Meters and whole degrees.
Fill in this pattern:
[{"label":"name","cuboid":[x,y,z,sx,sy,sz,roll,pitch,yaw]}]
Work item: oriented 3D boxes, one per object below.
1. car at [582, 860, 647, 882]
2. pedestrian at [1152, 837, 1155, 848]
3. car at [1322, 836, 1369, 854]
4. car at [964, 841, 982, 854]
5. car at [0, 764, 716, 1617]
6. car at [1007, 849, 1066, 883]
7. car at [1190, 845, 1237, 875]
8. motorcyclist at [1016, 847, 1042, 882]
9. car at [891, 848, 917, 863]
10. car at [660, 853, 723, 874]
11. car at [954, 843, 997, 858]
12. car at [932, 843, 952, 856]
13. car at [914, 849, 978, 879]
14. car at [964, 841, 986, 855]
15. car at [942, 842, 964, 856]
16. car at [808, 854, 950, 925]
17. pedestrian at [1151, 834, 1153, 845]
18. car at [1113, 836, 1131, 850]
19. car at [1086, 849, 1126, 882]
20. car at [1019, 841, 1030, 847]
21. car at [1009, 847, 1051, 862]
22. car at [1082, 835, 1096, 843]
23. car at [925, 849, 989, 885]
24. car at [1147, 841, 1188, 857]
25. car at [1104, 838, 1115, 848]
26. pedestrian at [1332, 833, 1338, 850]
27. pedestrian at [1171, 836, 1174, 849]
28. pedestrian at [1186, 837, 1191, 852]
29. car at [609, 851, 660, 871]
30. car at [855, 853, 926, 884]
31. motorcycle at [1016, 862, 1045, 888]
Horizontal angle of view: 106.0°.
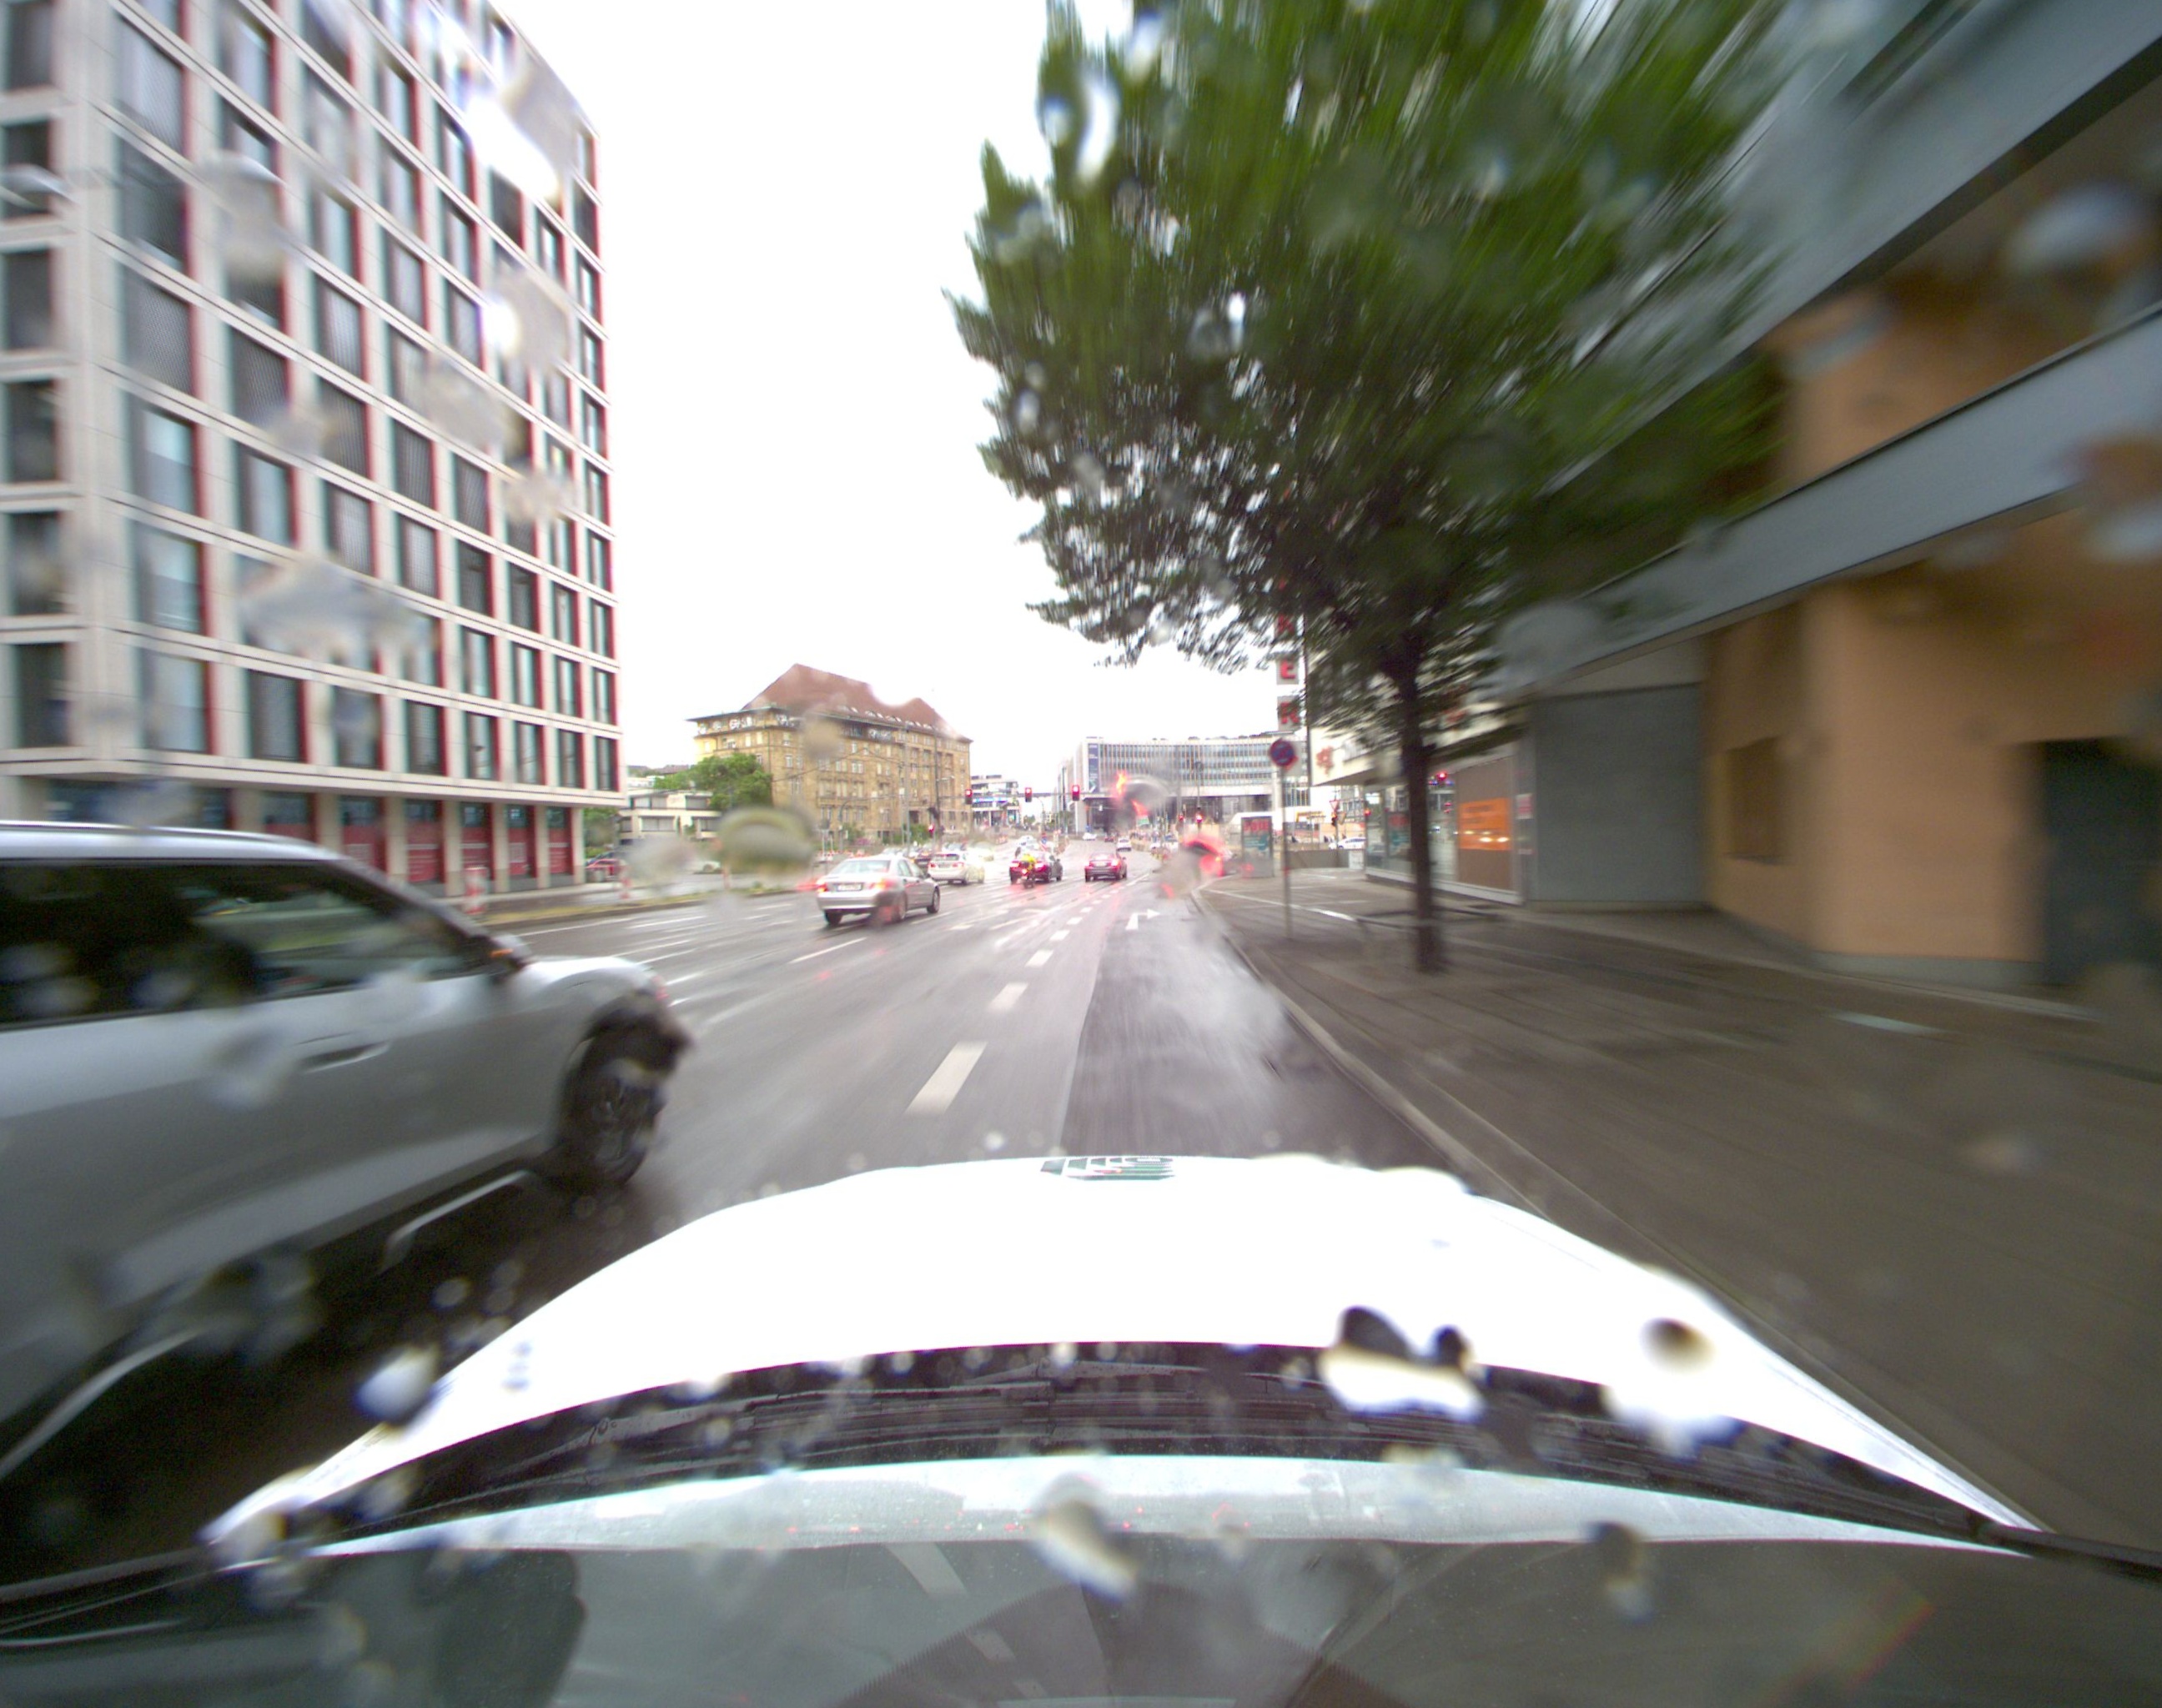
[{"label":"car","cuboid":[-35.418,1.288,61.878,3.967,1.596,1.678,-1,0,6]},{"label":"pedestrian","cuboid":[12.070,-1.928,135.922,0.360,1.898,0.576,-1,0,-2]},{"label":"car","cuboid":[27.302,-0.905,84.167,4.380,1.766,2.005,-1,0,8]},{"label":"car","cuboid":[-13.541,-0.865,101.998,1.692,1.574,4.000,-1,0,0]},{"label":"car","cuboid":[-2.994,0.665,2.437,1.801,1.661,4.172,-1,0,1]},{"label":"car","cuboid":[-2.121,0.555,40.331,1.876,1.514,5.015,-1,0,9]},{"label":"car","cuboid":[7.137,0.288,43.633,1.876,1.544,4.011,-1,0,17]},{"label":"motorcyclist","cuboid":[-2.210,0.438,34.947,0.937,1.475,1.101,-1,0,3]},{"label":"car","cuboid":[-18.638,0.141,86.084,1.691,1.519,3.877,-3,1,2]},{"label":"car","cuboid":[-32.531,0.782,68.179,4.387,1.662,1.990,-1,0,-14]},{"label":"car","cuboid":[-10.660,-0.357,81.995,4.059,1.506,2.013,-1,0,38]},{"label":"car","cuboid":[-17.033,-0.584,100.077,1.692,1.574,4.000,-1,0,0]},{"label":"car","cuboid":[-7.445,0.517,45.341,1.769,1.599,4.092,-1,0,18]},{"label":"car","cuboid":[-11.855,-0.696,91.056,1.815,1.486,4.000,-2,2,0]},{"label":"car","cuboid":[-14.597,-0.542,93.163,1.795,1.574,4.075,-1,0,0]},{"label":"car","cuboid":[-4.500,0.740,18.901,1.724,1.403,4.391,-1,0,7]},{"label":"pedestrian","cuboid":[12.973,-2.665,149.149,0.360,1.898,0.576,-1,0,-2]},{"label":"car","cuboid":[5.241,-1.415,104.314,1.726,1.639,3.427,-1,4,-7]},{"label":"car","cuboid":[1.340,0.559,41.888,1.775,1.402,4.494,-1,2,5]},{"label":"car","cuboid":[-11.466,-1.994,164.814,1.760,1.260,4.197,-1,0,3]},{"label":"car","cuboid":[-5.022,0.044,79.926,2.011,1.345,4.062,-1,0,-44]},{"label":"car","cuboid":[1.914,-3.464,193.885,1.999,1.816,3.976,-1,0,-18]},{"label":"car","cuboid":[-5.840,0.589,38.832,1.722,1.616,4.012,-1,0,10]},{"label":"car","cuboid":[9.509,-0.551,89.275,3.948,1.640,2.013,-1,0,33]},{"label":"car","cuboid":[5.663,-2.171,162.086,1.988,2.013,3.999,-1,0,-1]},{"label":"pedestrian","cuboid":[28.859,-1.415,92.458,0.572,1.898,0.363,-1,0,4]},{"label":"pedestrian","cuboid":[13.101,-1.618,116.555,0.361,1.898,0.574,-1,0,-11]},{"label":"pedestrian","cuboid":[13.682,-1.189,103.708,0.363,1.898,0.571,-1,0,-32]},{"label":"car","cuboid":[-45.769,0.698,83.538,4.222,2.013,1.989,-1,0,-17]},{"label":"car","cuboid":[-9.056,0.676,39.056,1.771,1.373,4.007,-1,0,12]},{"label":"motorcycle","cuboid":[-2.164,0.880,34.987,0.937,0.989,2.297,-1,1,4]}]
